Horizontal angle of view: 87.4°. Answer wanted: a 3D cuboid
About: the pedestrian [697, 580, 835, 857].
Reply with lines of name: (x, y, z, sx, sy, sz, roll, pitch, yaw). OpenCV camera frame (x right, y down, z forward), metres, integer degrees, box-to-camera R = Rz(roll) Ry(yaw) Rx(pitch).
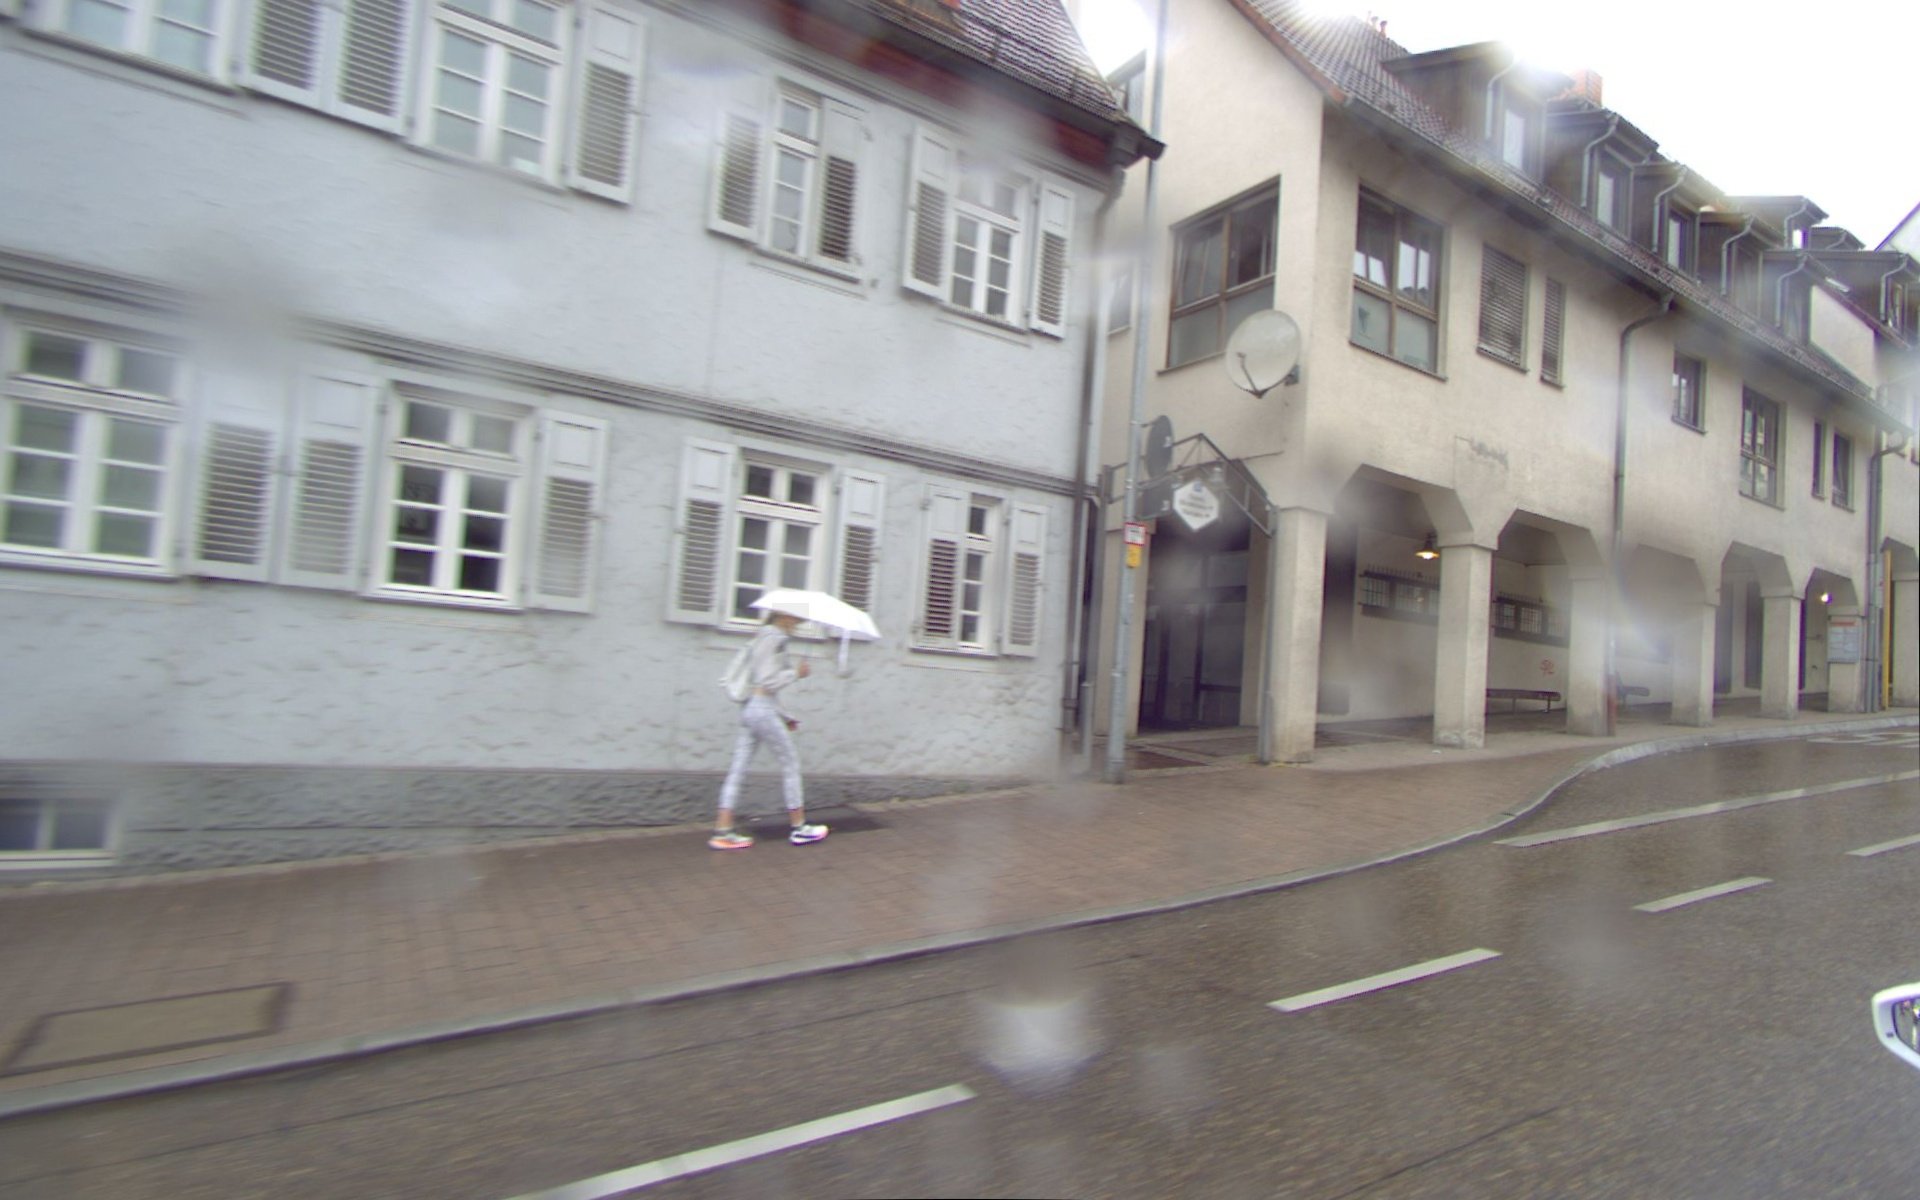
pedestrian: (-1.337, 0.762, 6.882, 0.726, 1.763, 0.685, 1, 0, -28)
